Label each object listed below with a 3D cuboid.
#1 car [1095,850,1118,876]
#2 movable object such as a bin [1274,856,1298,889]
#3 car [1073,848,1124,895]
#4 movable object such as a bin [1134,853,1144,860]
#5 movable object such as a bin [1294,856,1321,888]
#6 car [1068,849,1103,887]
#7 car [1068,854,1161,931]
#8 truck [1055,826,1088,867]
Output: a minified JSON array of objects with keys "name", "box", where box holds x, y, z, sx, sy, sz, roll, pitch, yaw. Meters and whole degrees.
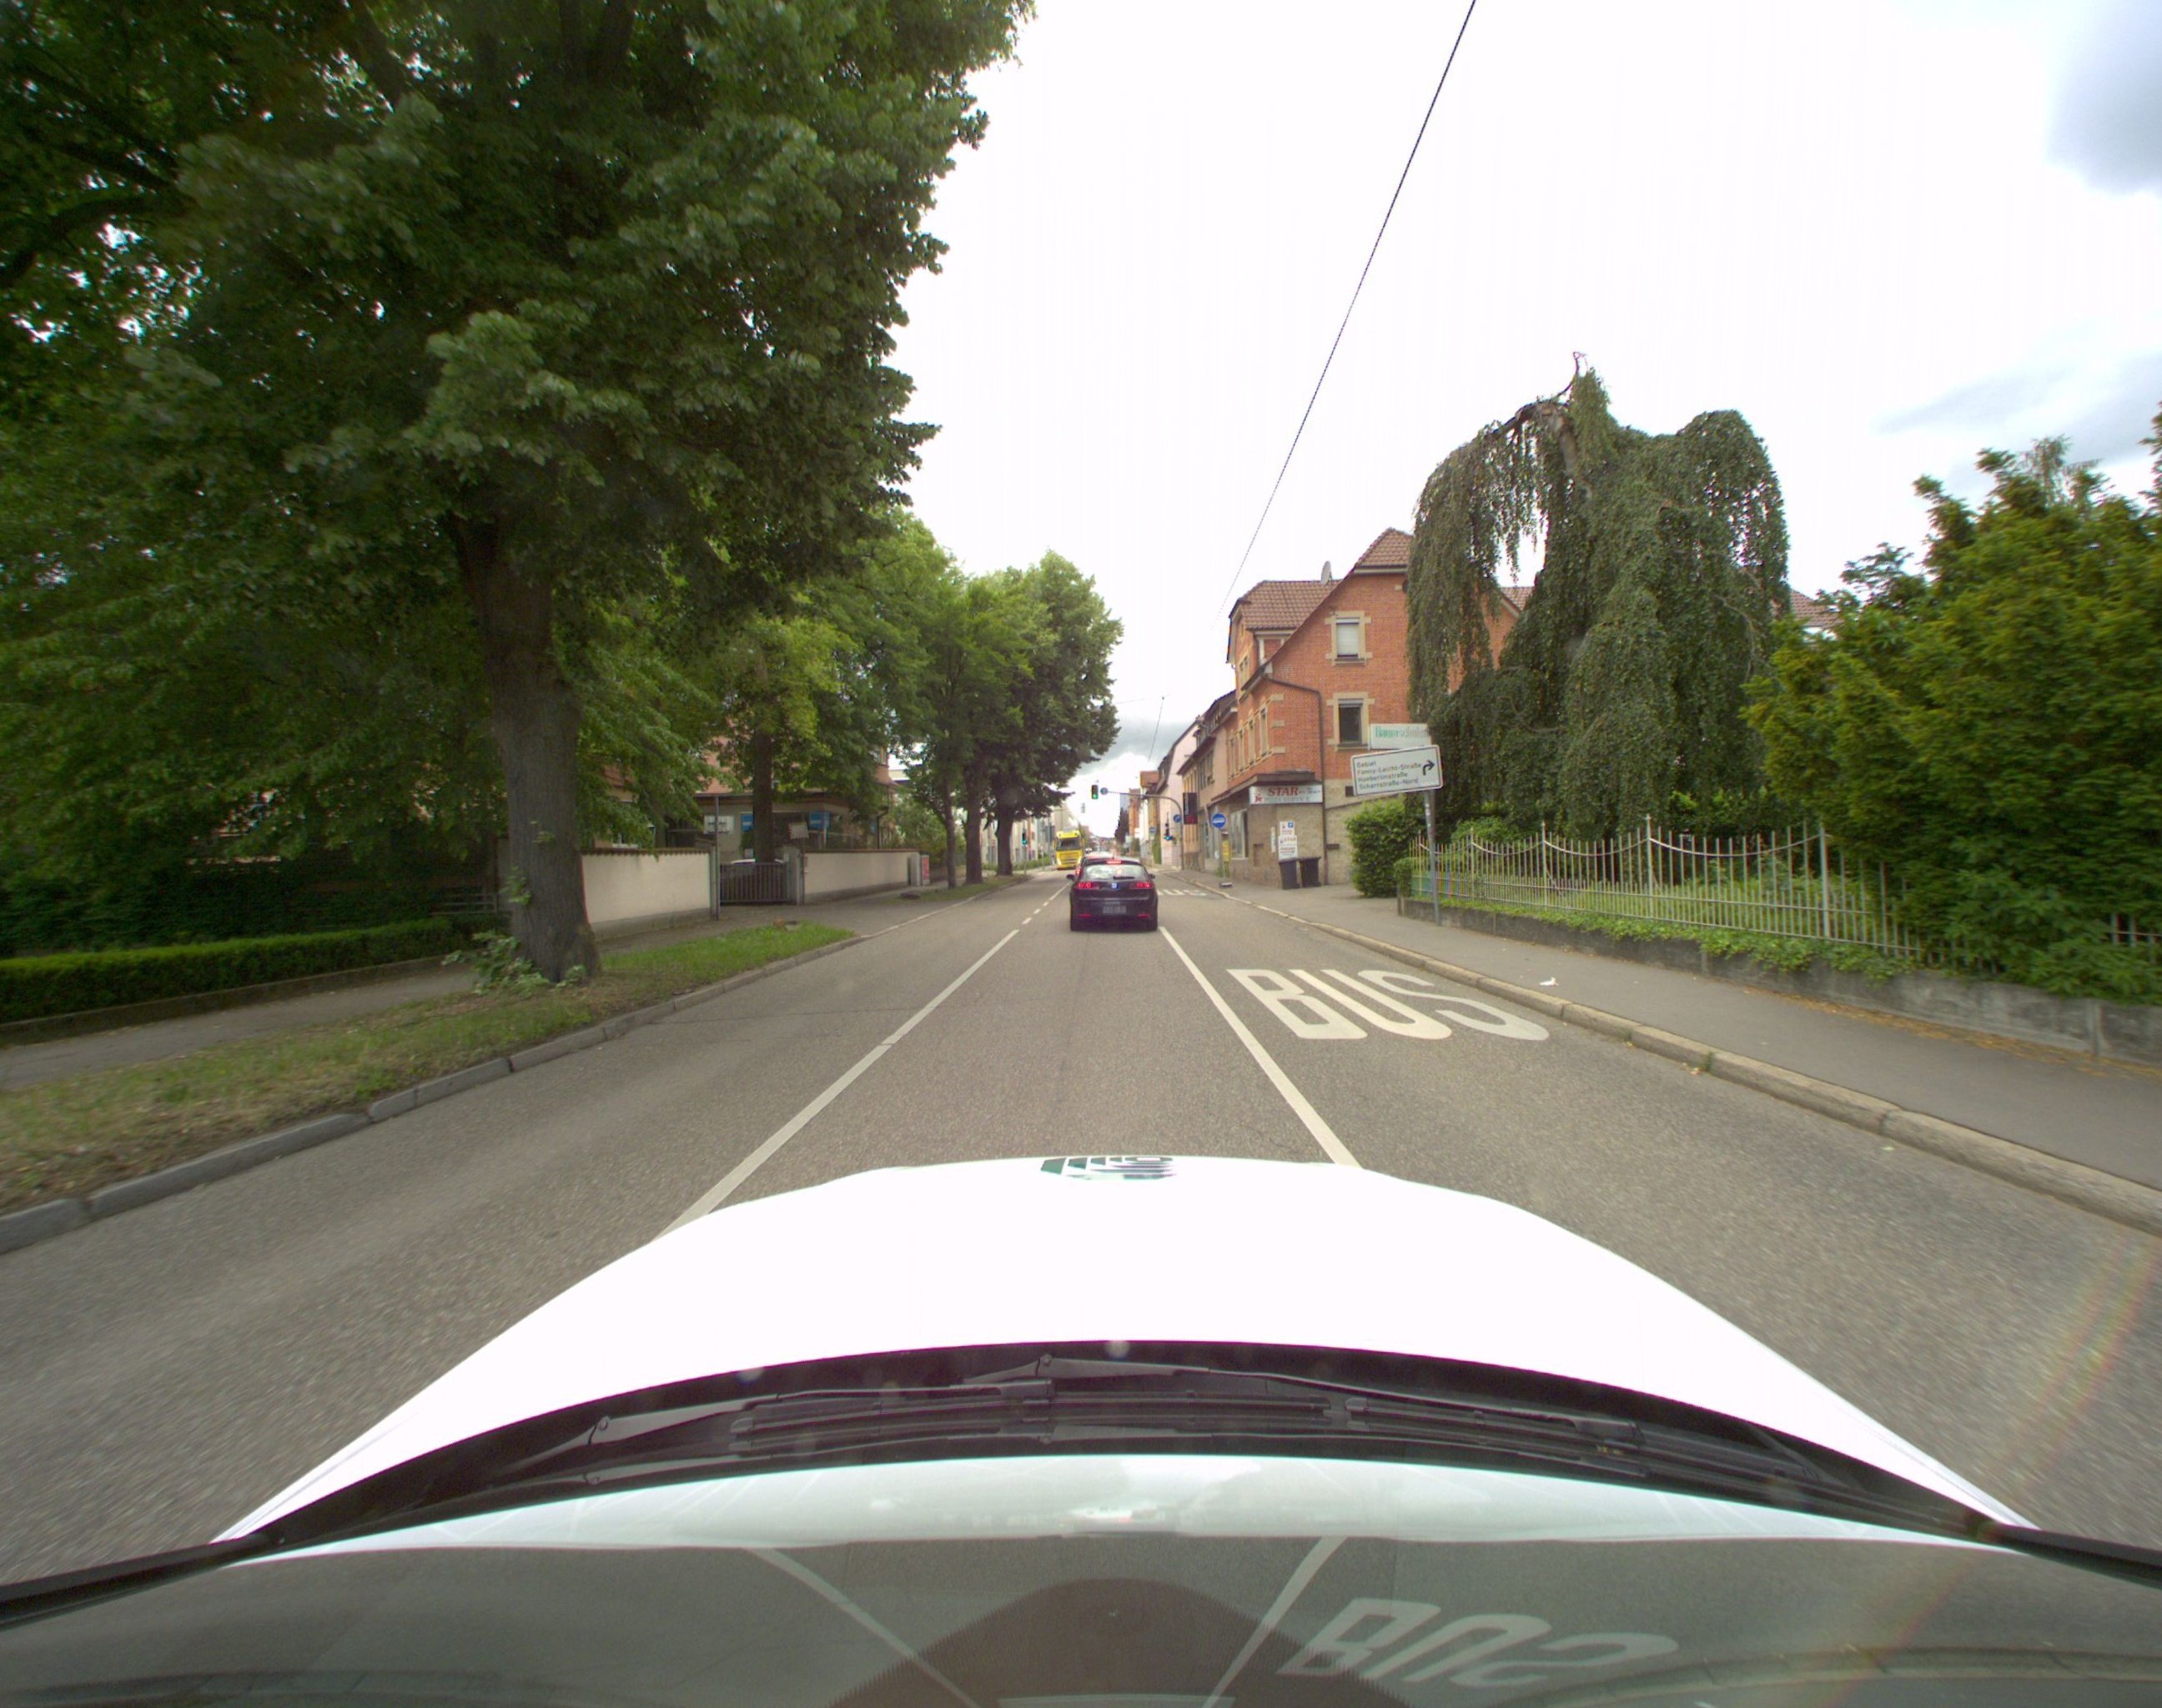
[{"name":"car","box":[1.689,0.613,54.409,1.526,1.693,3.694,0,-1,1]},{"name":"movable object such as a bin","box":[7.044,0.624,27.985,0.604,1.101,0.623,-3,-1,1]},{"name":"car","box":[0.690,0.635,31.320,1.836,1.693,4.001,0,-1,1]},{"name":"movable object such as a bin","box":[11.143,0.457,156.170,1.811,1.437,1.994,0,-1,2]},{"name":"movable object such as a bin","box":[7.784,0.623,27.980,0.696,1.059,0.724,-3,-1,1]},{"name":"car","box":[0.236,0.643,37.740,1.526,1.693,3.694,0,-1,1]},{"name":"car","box":[0.687,0.733,17.270,1.752,1.442,4.001,0,-1,1]},{"name":"truck","box":[-0.881,-0.652,79.107,2.833,3.782,7.673,0,-1,2]}]
